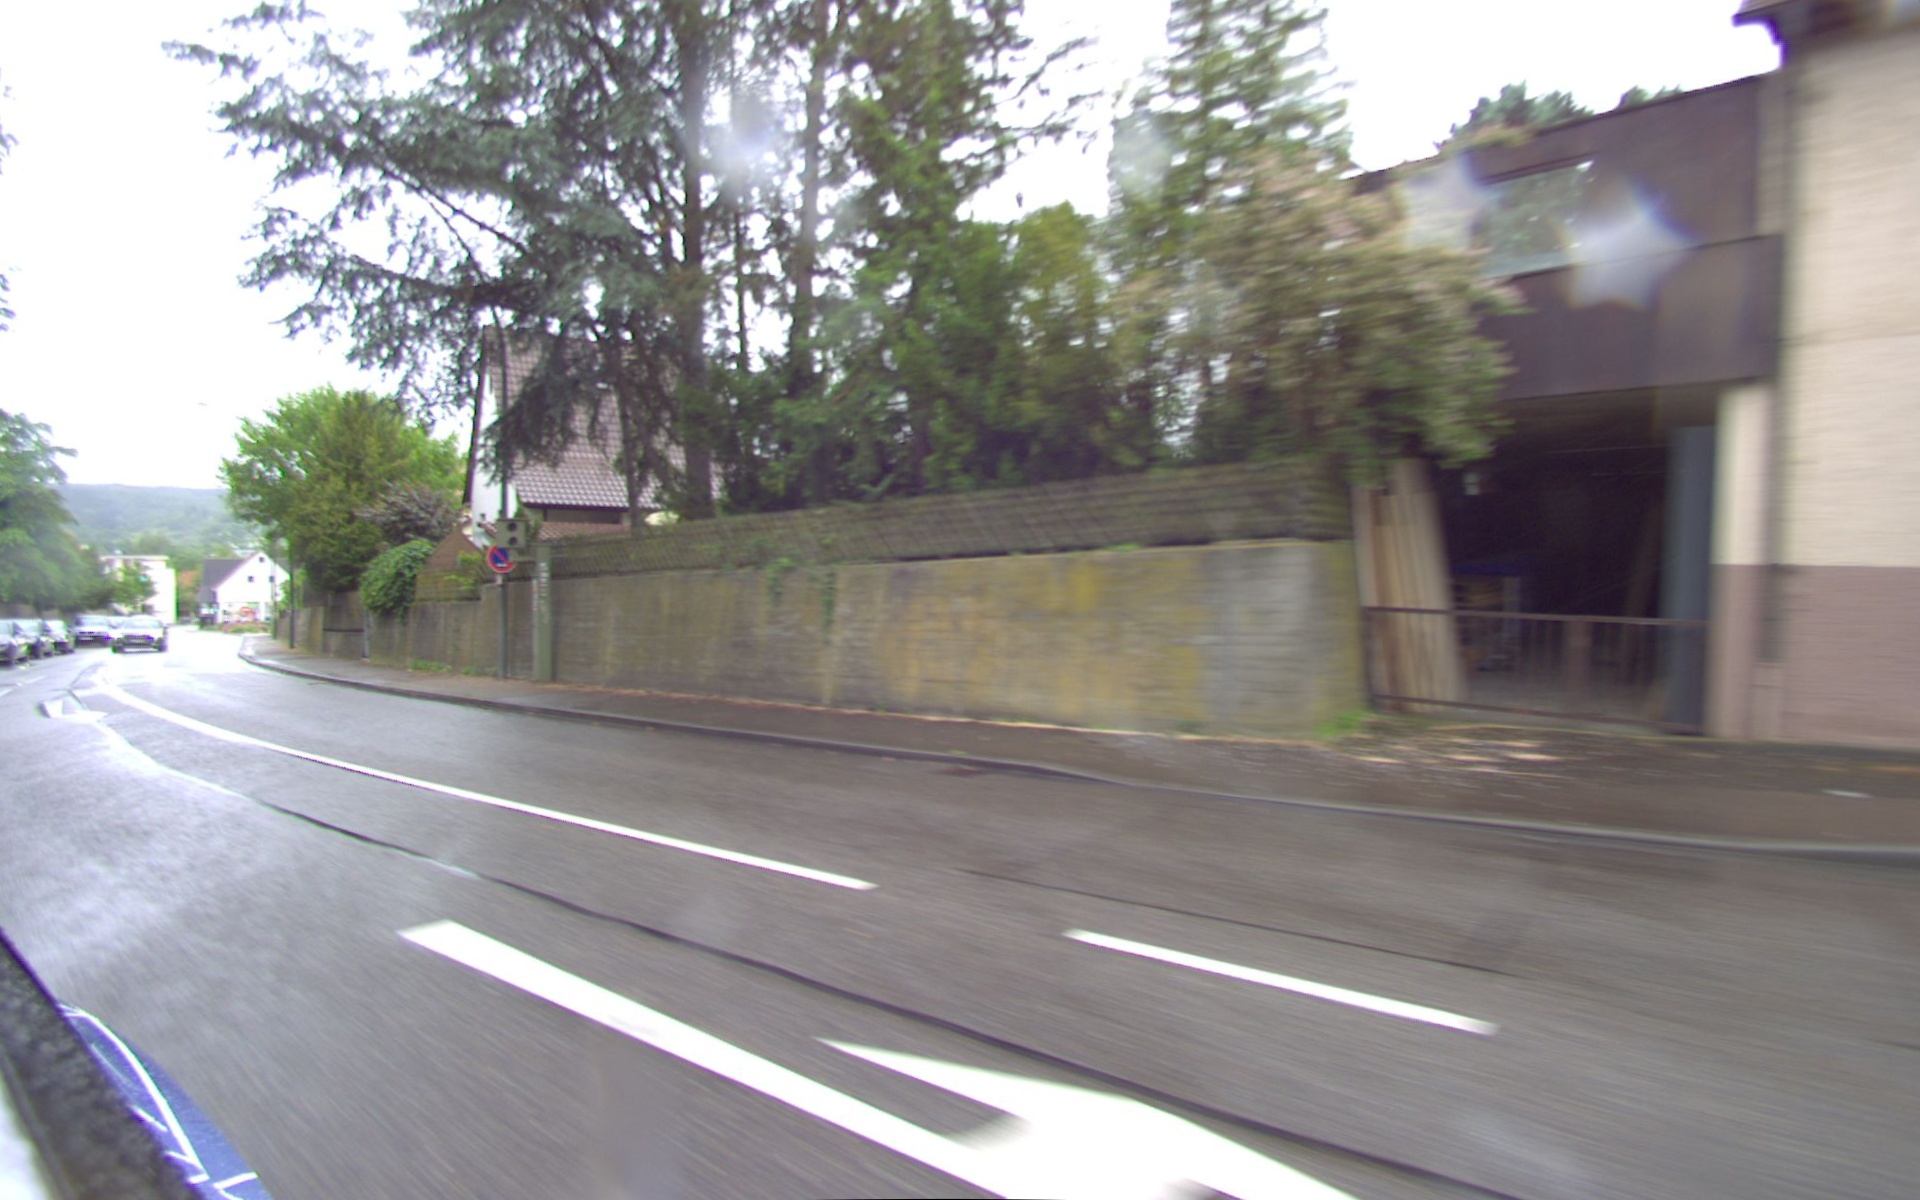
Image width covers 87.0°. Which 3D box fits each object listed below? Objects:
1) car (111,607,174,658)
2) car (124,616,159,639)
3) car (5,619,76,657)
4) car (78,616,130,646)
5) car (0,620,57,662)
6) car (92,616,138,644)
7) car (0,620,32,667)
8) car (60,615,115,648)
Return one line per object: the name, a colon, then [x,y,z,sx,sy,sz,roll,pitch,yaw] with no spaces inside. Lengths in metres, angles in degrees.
car: [-35.841,1.380,44.444,1.967,2.029,4.009,-1,1,-37]
car: [-65.364,2.169,80.868,1.918,1.807,4.196,1,-1,-35]
car: [-37.305,1.507,41.161,1.736,1.430,4.162,1,-2,-37]
car: [-48.918,1.763,57.880,1.804,1.642,4.164,1,-1,-34]
car: [-34.285,1.458,36.739,1.736,1.430,4.163,1,-1,-35]
car: [-52.611,1.841,63.069,1.804,1.642,4.164,1,-1,-34]
car: [-31.005,1.355,31.976,1.967,1.430,4.495,1,-2,-36]
car: [-45.184,1.629,52.468,1.805,1.642,4.163,1,-2,-36]
